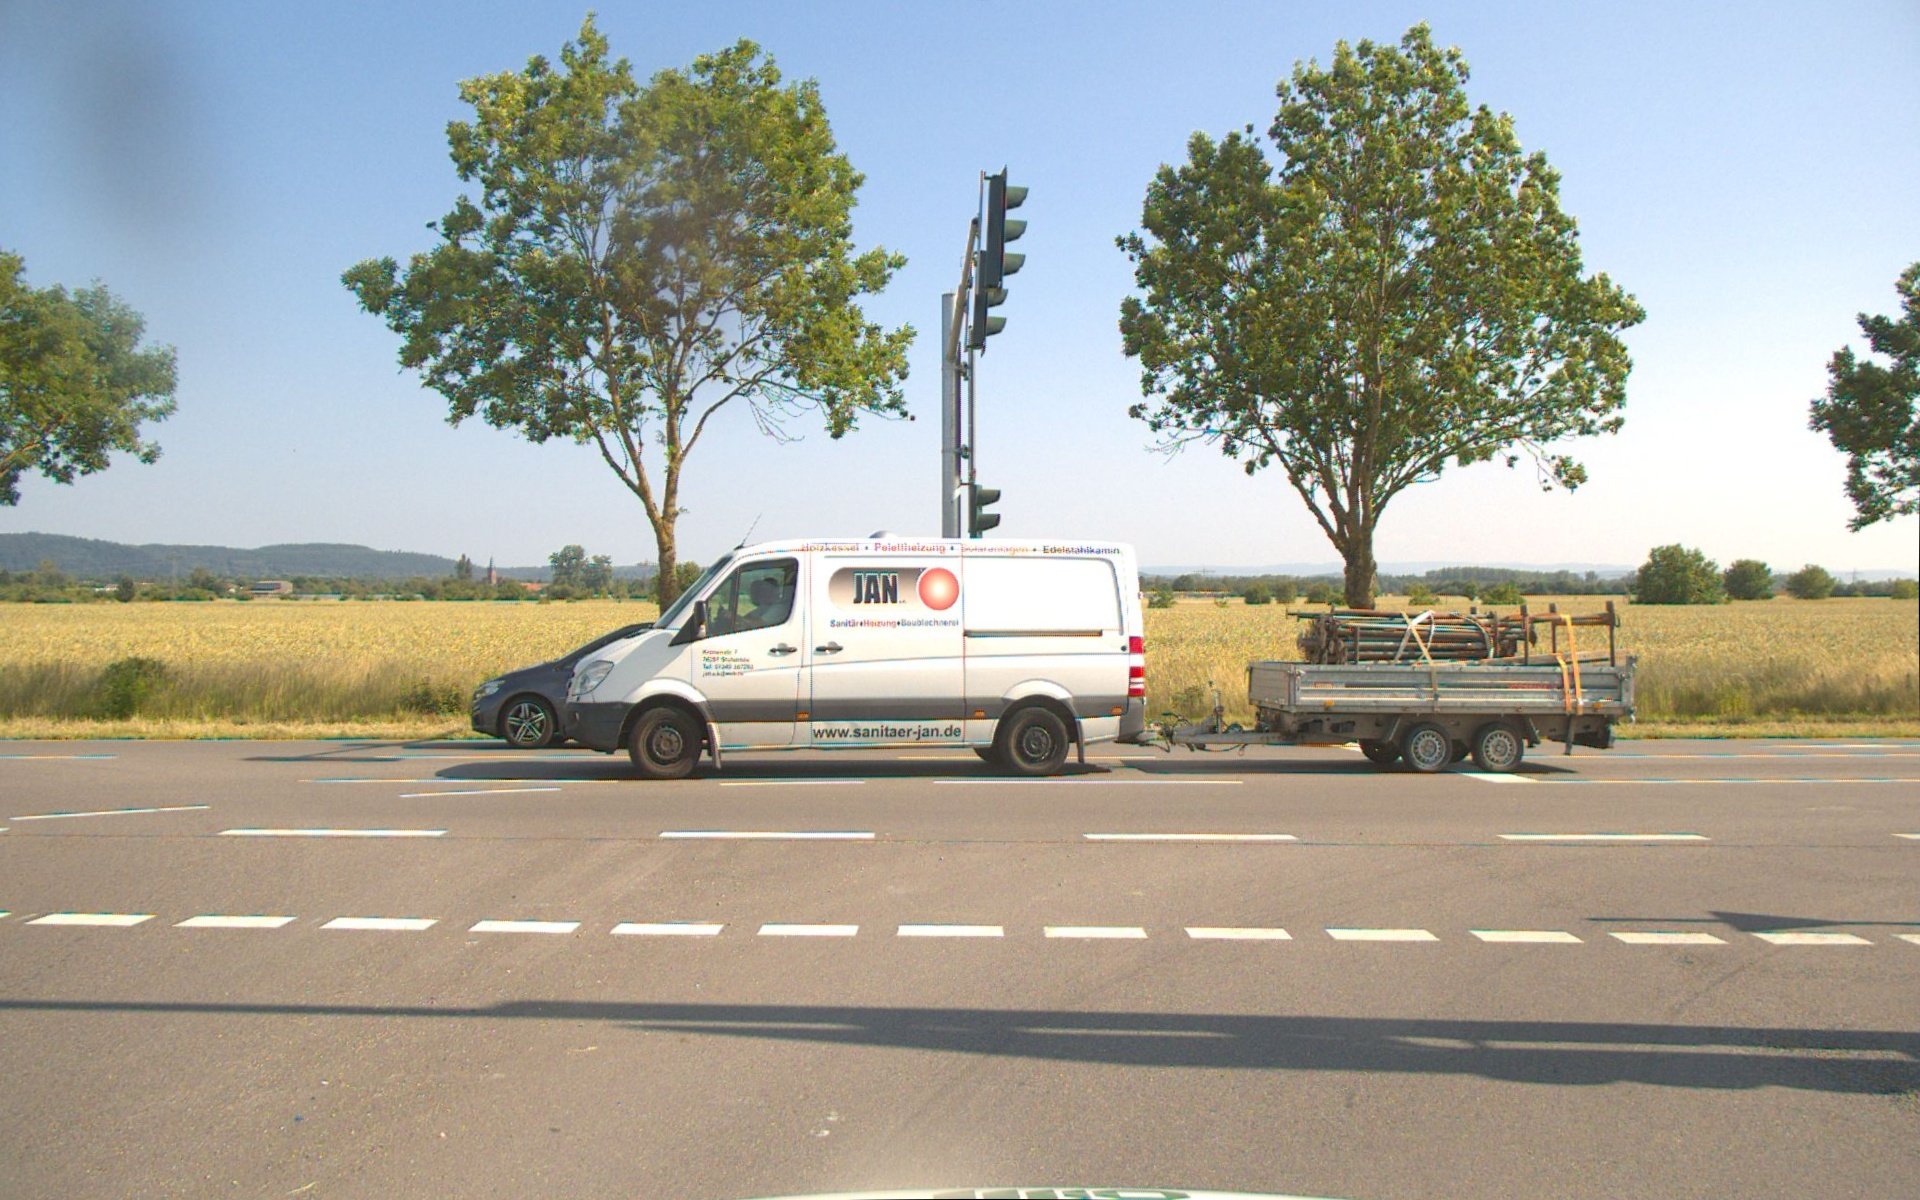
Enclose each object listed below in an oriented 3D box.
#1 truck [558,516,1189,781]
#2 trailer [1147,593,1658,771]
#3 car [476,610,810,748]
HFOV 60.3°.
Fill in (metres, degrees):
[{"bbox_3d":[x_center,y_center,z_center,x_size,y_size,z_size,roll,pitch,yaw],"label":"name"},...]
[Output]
[{"bbox_3d":[-0.892,0.475,16.852,6.065,2.447,2.066,0,-1,-10],"label":"truck"},{"bbox_3d":[4.583,0.840,17.617,4.896,1.768,1.979,0,-1,-4],"label":"trailer"},{"bbox_3d":[-3.928,0.998,21.044,3.906,1.654,1.889,0,-3,-2],"label":"car"}]
